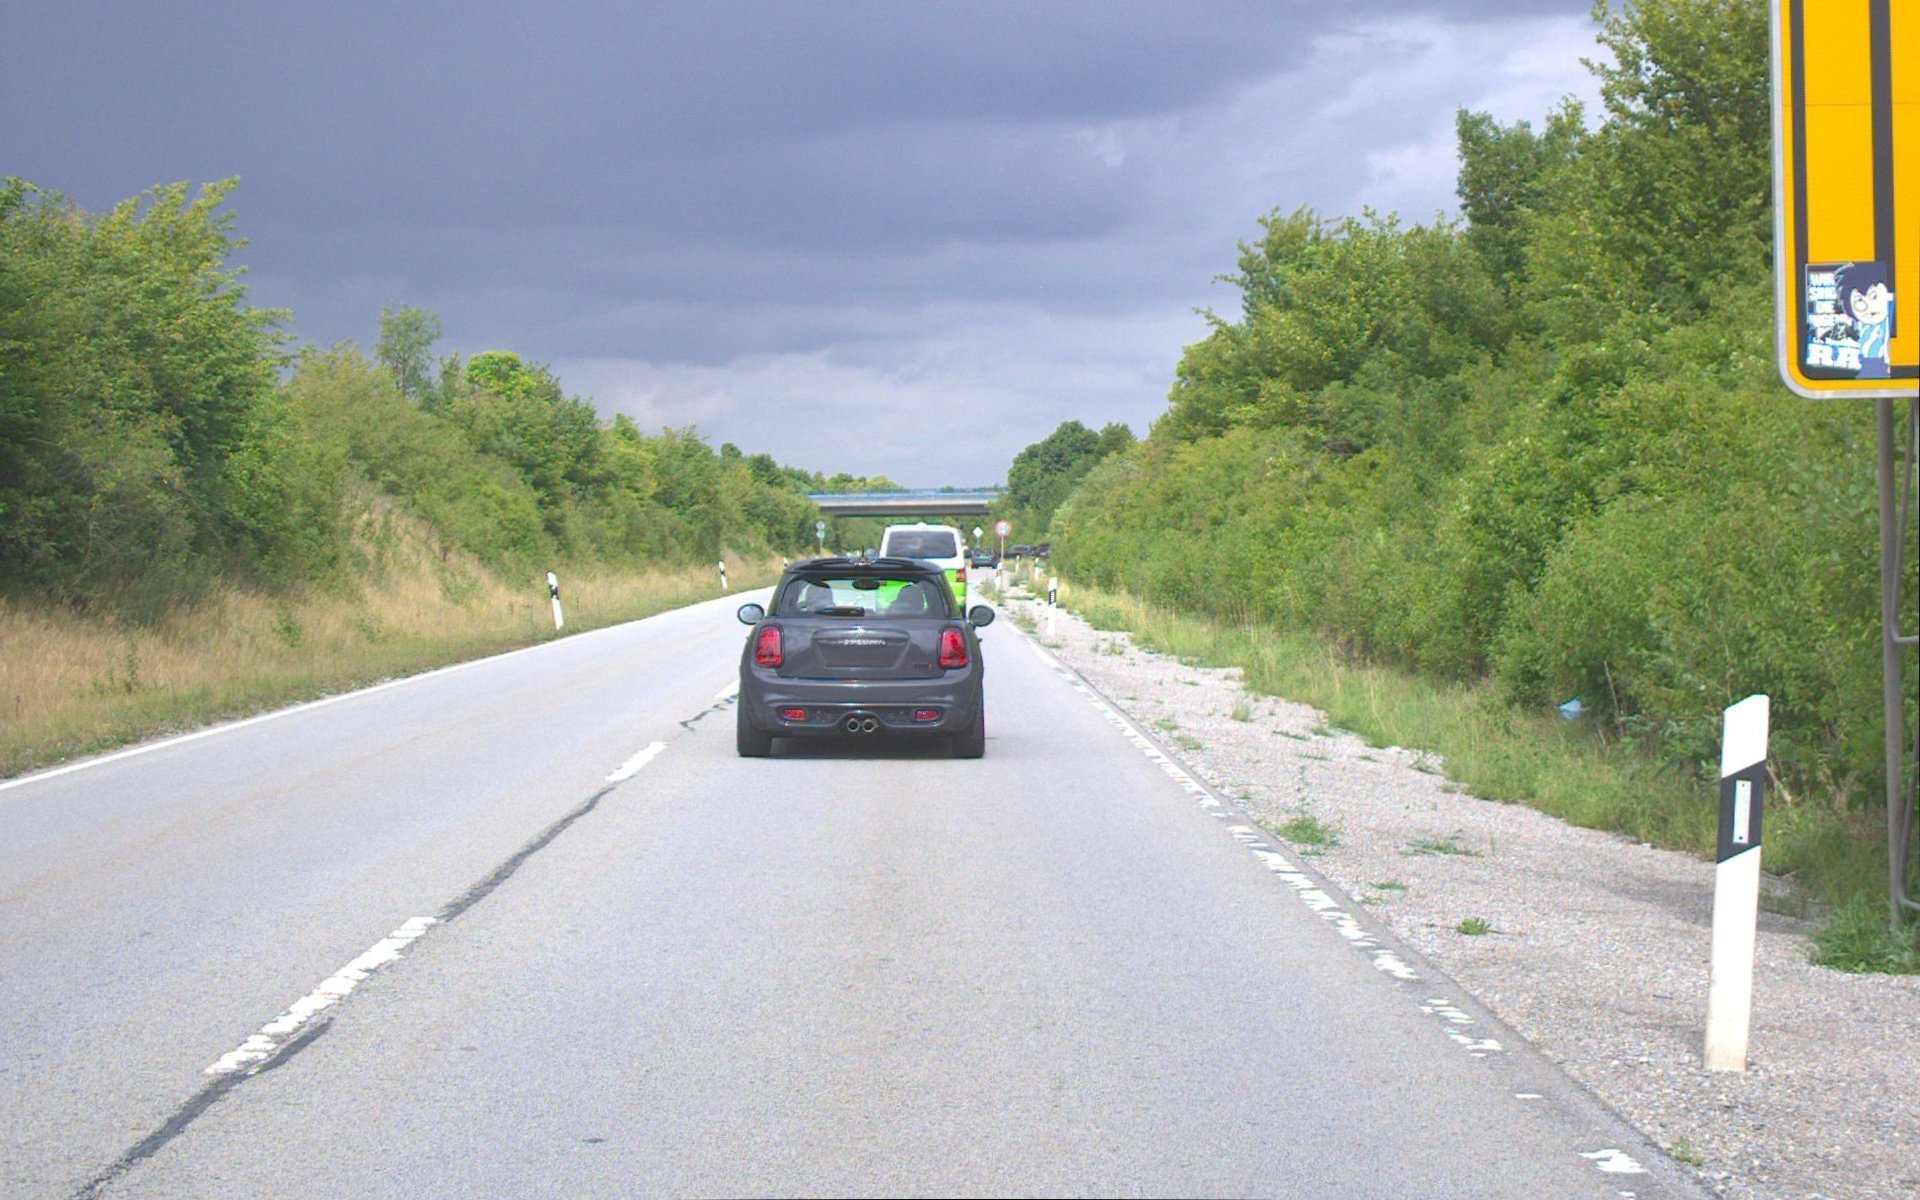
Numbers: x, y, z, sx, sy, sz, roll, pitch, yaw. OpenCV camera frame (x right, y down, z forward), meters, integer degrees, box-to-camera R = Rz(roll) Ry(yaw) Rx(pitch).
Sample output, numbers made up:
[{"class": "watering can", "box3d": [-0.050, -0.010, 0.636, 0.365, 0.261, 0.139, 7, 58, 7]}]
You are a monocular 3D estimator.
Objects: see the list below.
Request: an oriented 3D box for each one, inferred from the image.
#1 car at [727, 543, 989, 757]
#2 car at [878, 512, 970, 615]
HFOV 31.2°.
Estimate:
[{"class": "car", "box3d": [-0.722, 0.314, 25.343, 1.756, 1.422, 4.000, 1, 1, -1]}, {"class": "car", "box3d": [-0.744, -0.758, 71.197, 1.819, 2.047, 4.000, 1, 1, -1]}]
